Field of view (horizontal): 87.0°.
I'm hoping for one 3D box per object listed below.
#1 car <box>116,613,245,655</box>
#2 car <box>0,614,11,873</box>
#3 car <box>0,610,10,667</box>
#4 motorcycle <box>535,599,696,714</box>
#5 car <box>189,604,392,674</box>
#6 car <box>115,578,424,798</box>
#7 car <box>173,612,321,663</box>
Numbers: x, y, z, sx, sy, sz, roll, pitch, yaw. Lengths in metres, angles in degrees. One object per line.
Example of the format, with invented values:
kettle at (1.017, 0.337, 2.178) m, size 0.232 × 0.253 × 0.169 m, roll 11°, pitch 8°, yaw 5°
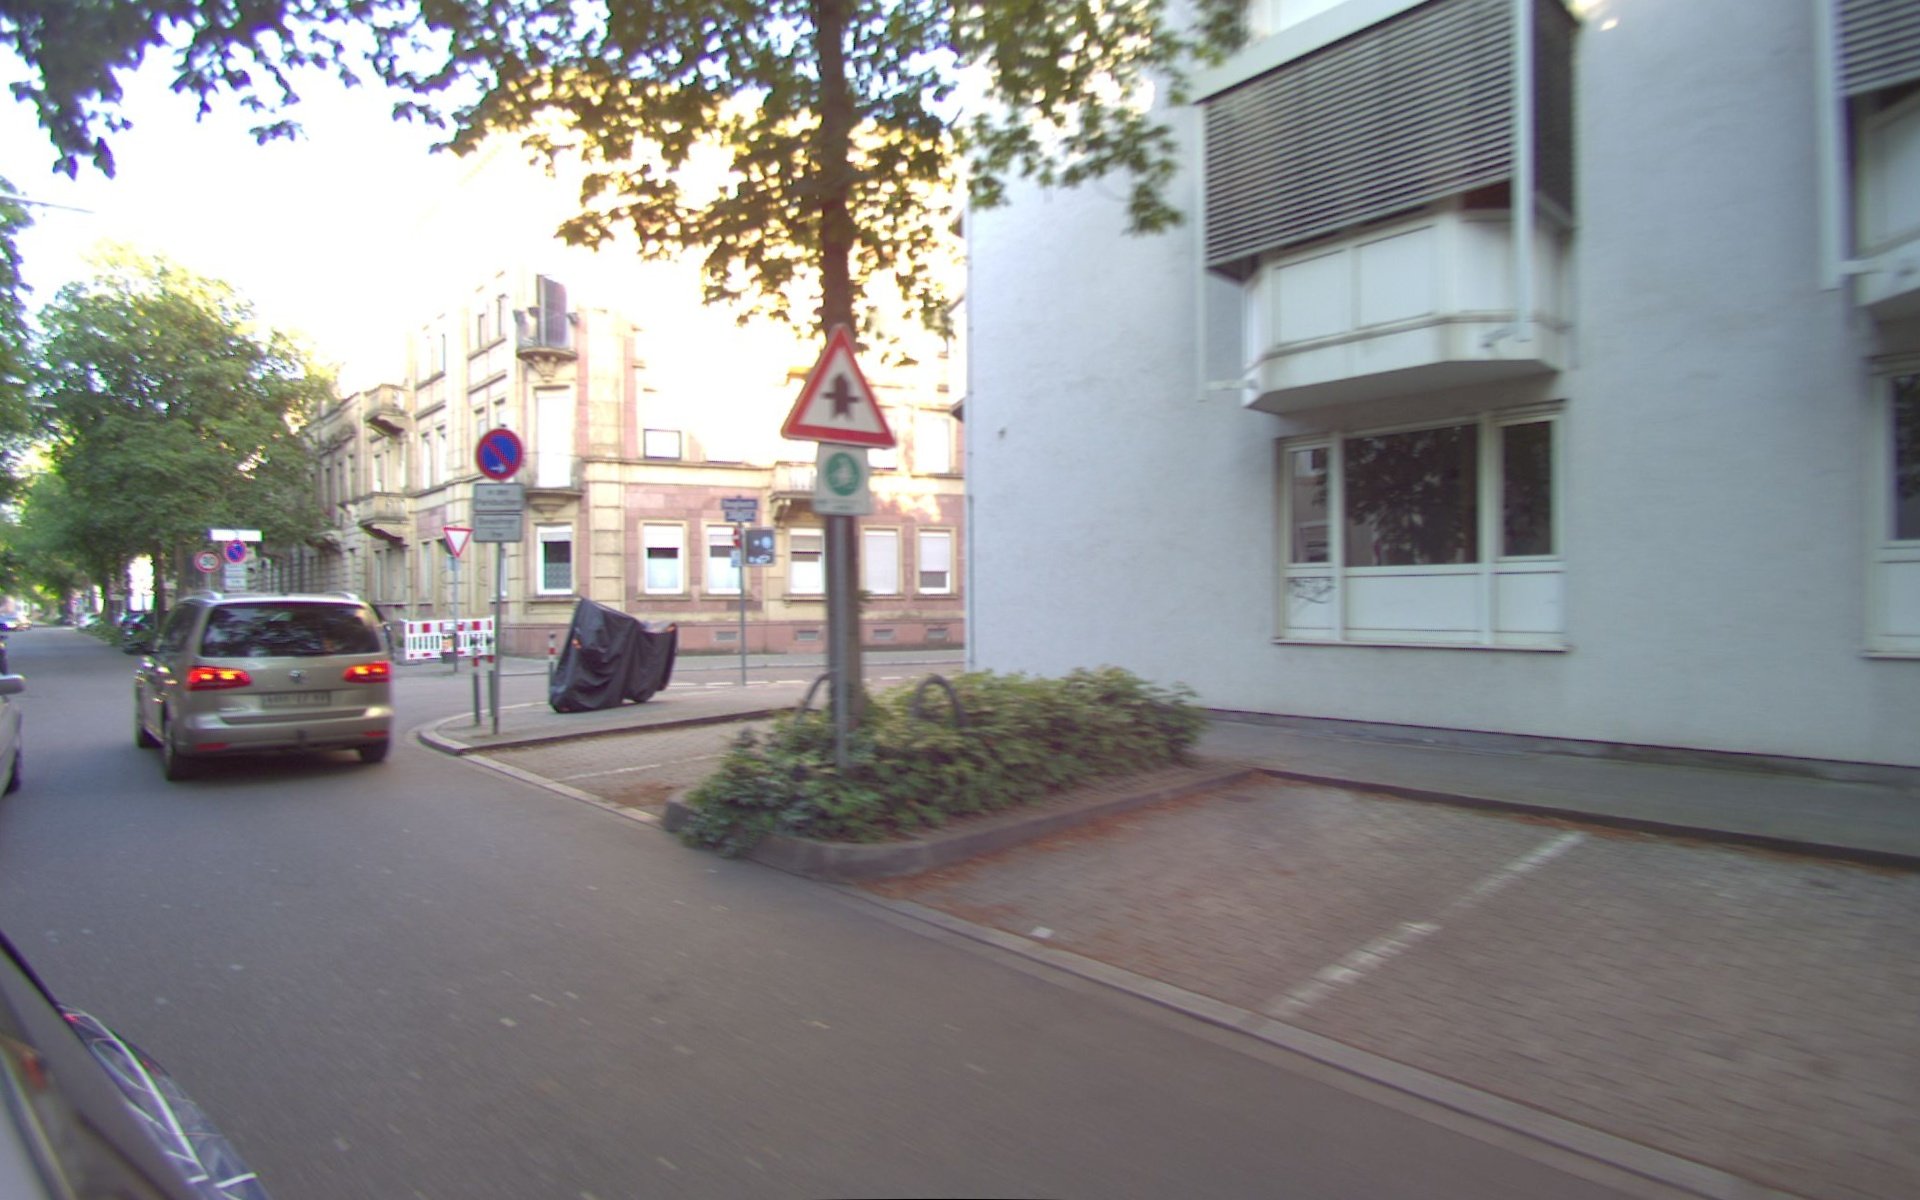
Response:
car at (-34.953, 1.470, 45.441) m, size 4.463 × 1.728 × 2.002 m, roll 0°, pitch -1°, yaw -42°
car at (-7.121, 0.789, 6.310) m, size 1.711 × 1.381 × 4.337 m, roll 0°, pitch -1°, yaw -43°
car at (-29.550, 1.166, 29.809) m, size 1.886 × 1.701 × 3.979 m, roll 0°, pitch 0°, yaw -38°
motorcycle at (-4.791, 0.744, 14.271) m, size 0.897 × 1.481 × 2.213 m, roll -1°, pitch -1°, yaw 24°
car at (-18.415, 1.012, 27.921) m, size 4.532 × 1.748 × 2.145 m, roll 0°, pitch 0°, yaw -38°
car at (-6.981, 0.705, 10.023) m, size 1.762 × 1.701 × 4.388 m, roll 0°, pitch -1°, yaw -45°
car at (-23.565, 1.191, 33.659) m, size 3.932 × 1.597 × 2.006 m, roll 0°, pitch -1°, yaw -32°
